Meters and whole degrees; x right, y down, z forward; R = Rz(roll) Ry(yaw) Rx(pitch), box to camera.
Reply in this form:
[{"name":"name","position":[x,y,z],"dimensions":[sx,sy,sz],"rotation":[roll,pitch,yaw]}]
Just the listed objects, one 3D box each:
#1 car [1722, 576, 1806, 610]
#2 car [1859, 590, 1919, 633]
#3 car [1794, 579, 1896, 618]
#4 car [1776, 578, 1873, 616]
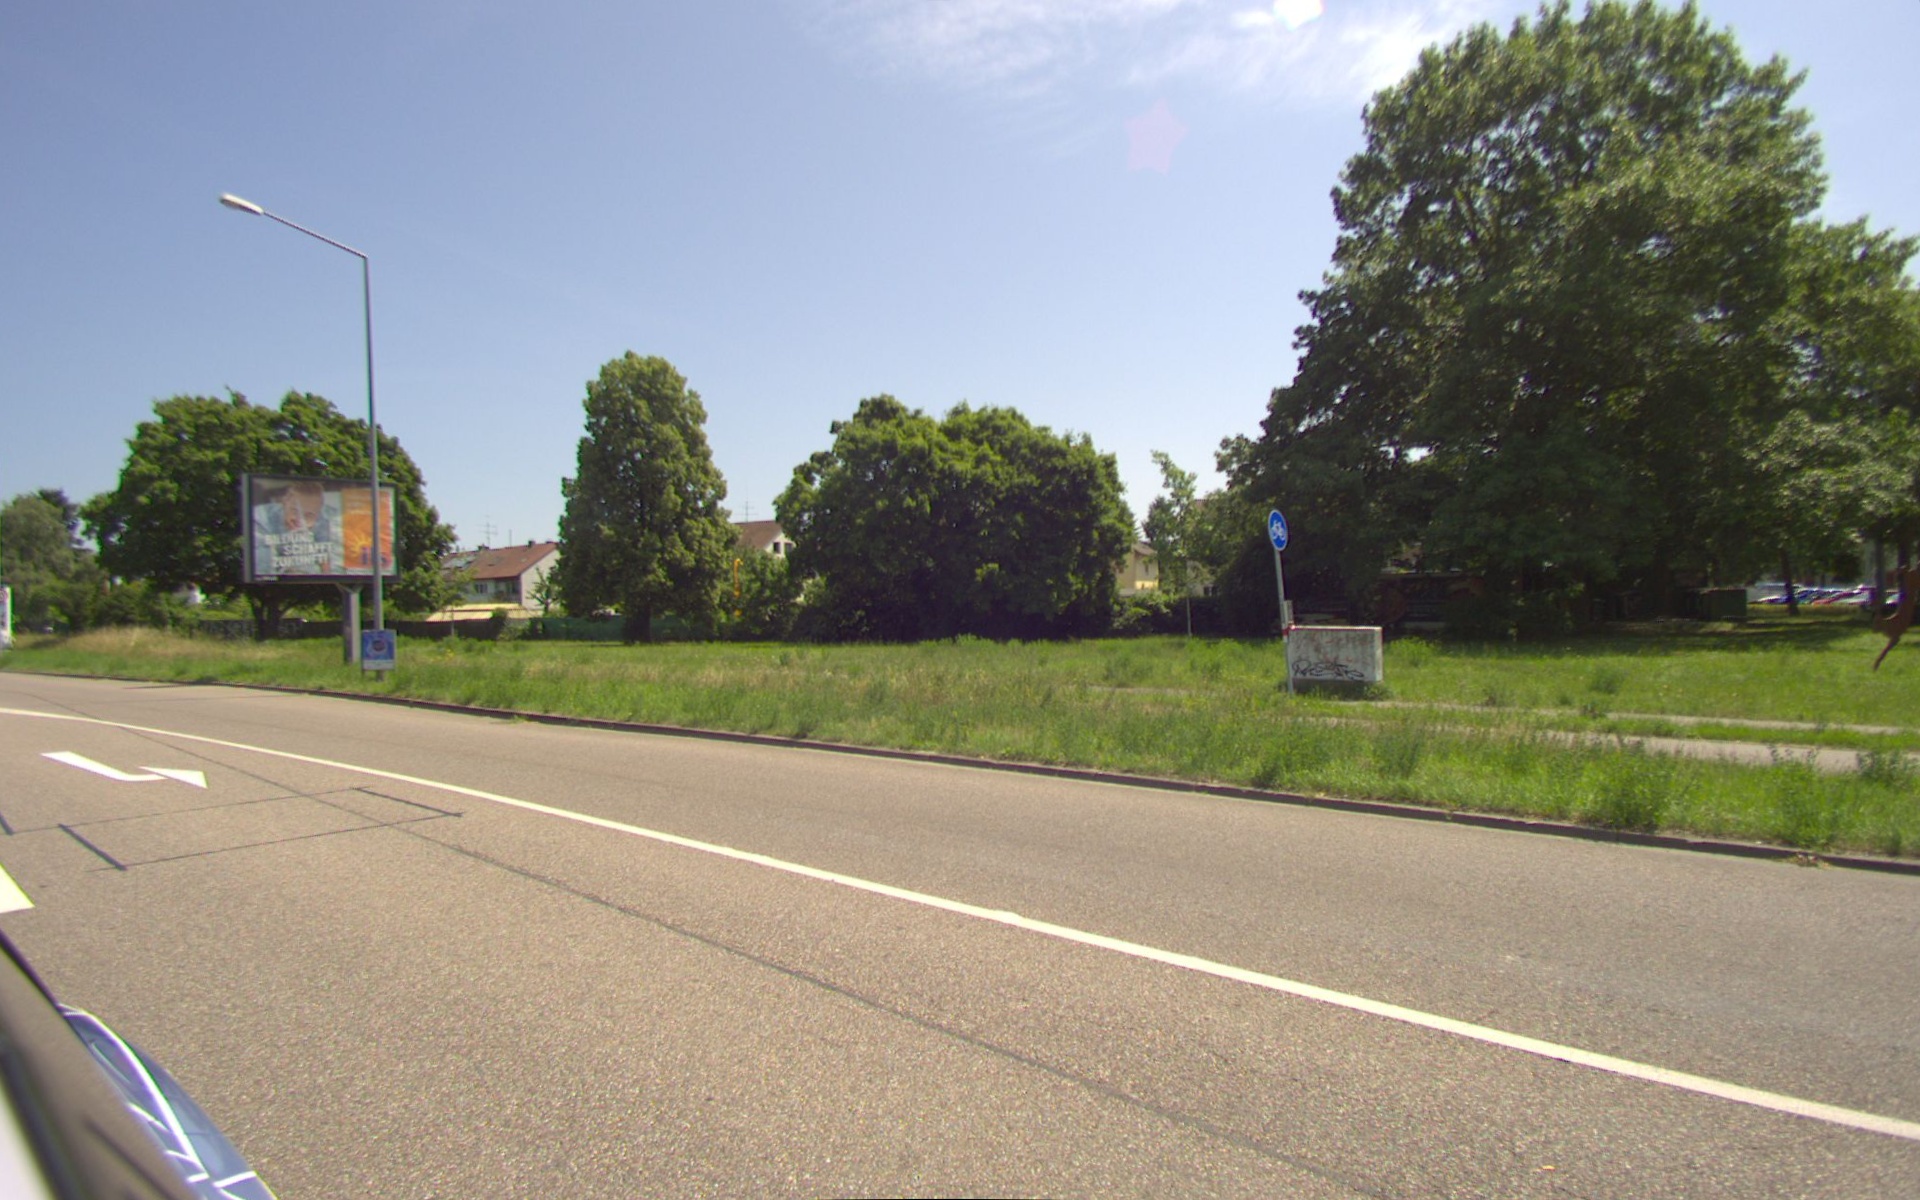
[{"name":"car","position":[54.574,-0.477,68.797],"dimensions":[3.973,2.028,1.986],"rotation":[-2,2,22]},{"name":"car","position":[34.577,0.355,35.116],"dimensions":[1.966,1.479,4.597],"rotation":[-1,-2,-30]},{"name":"car","position":[51.458,-0.095,58.969],"dimensions":[3.973,2.028,1.986],"rotation":[-2,2,22]},{"name":"car","position":[52.373,-0.170,61.372],"dimensions":[3.973,2.028,1.986],"rotation":[-2,2,22]}]
